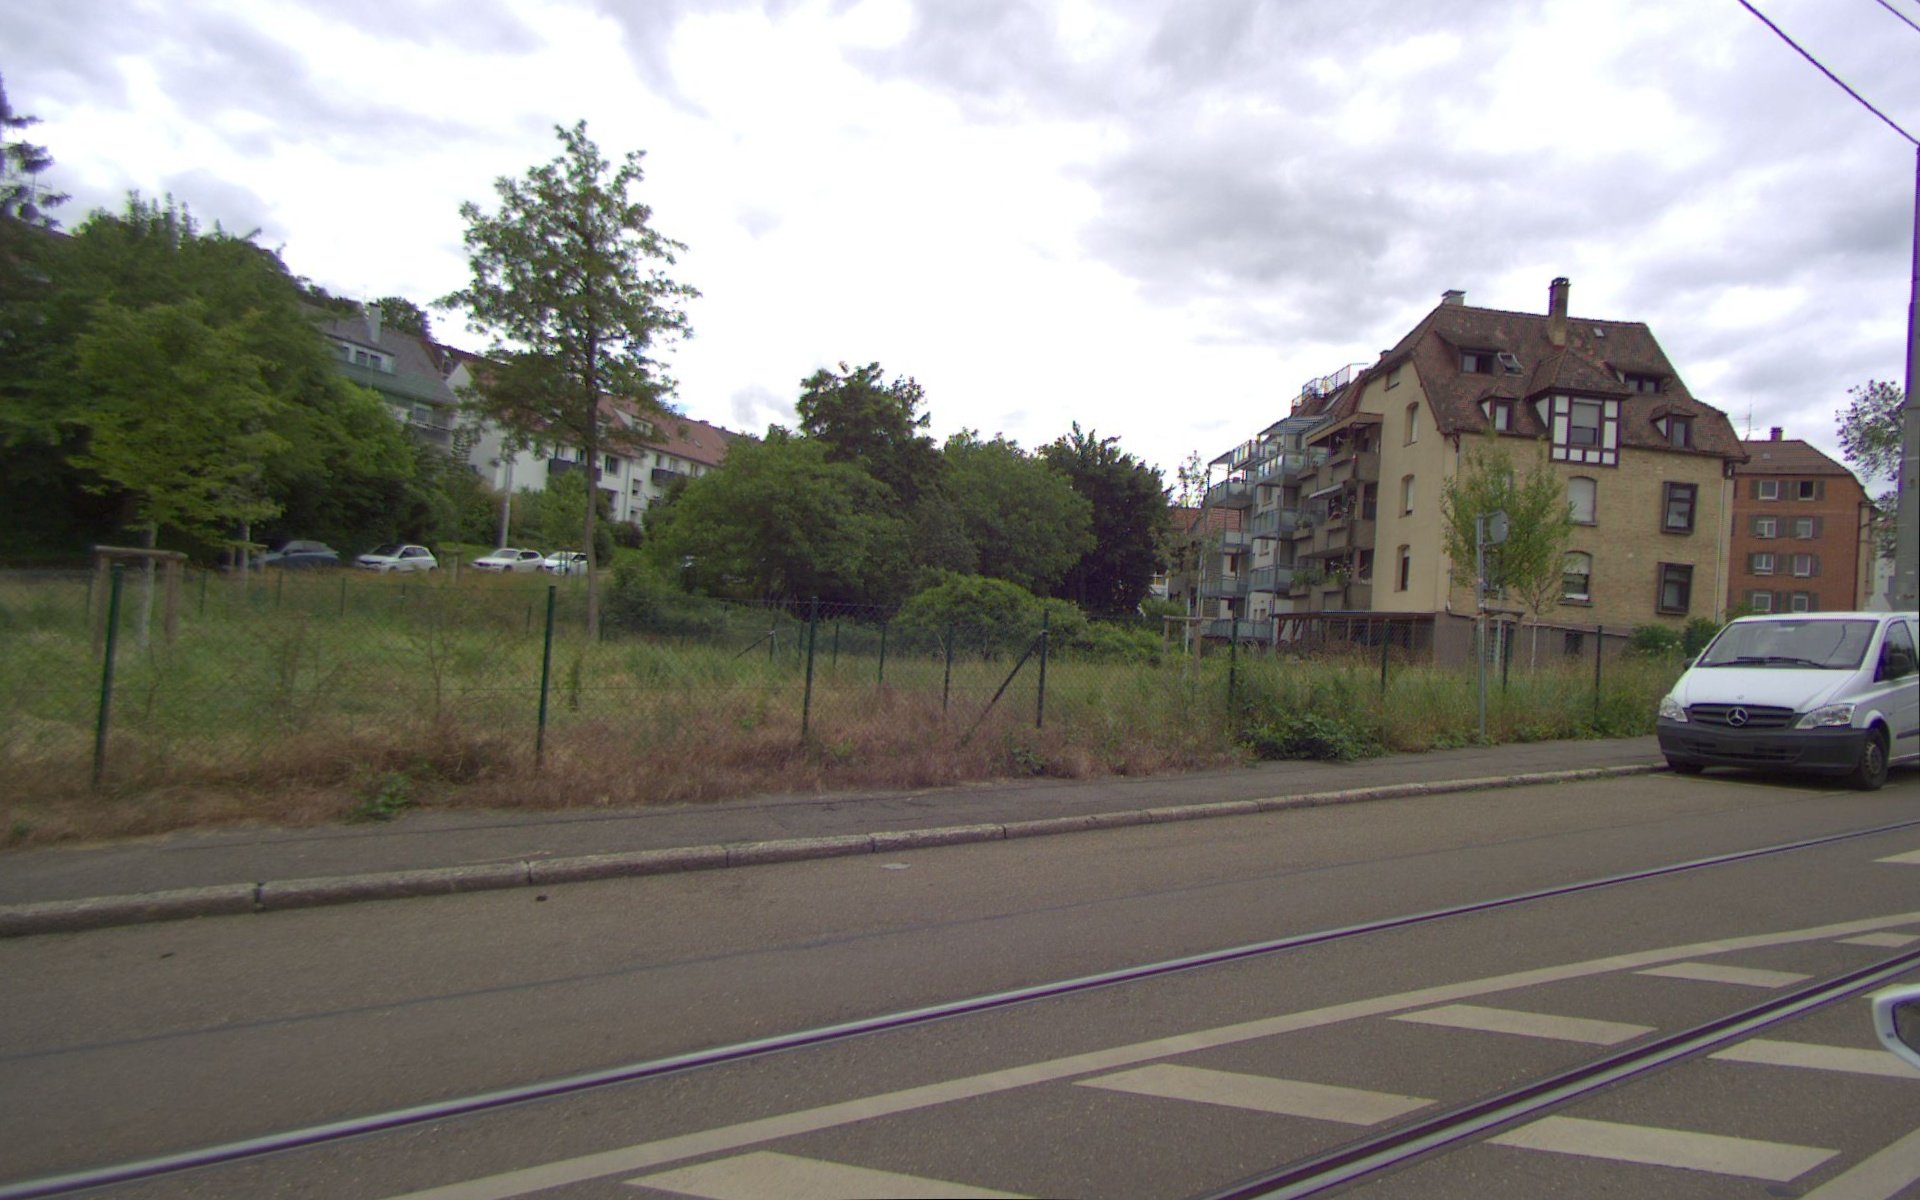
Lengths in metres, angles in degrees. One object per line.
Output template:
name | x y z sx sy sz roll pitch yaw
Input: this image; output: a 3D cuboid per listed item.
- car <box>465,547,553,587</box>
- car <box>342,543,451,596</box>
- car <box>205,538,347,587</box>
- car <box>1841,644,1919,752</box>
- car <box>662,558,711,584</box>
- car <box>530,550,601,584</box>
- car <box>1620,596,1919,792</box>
car | -23.295 -1.666 52.059 1.863 1.812 4.487 3 0 11
car | -24.634 -1.301 44.089 1.942 2.040 4.135 3 0 10
car | -25.372 -1.365 37.449 1.942 1.531 4.135 3 0 11
car | 15.050 1.406 14.710 4.457 1.451 1.888 2 -2 -30
car | -20.158 -2.135 74.233 1.800 1.680 4.135 3 0 11
car | -22.452 -1.851 57.294 1.800 1.680 4.135 3 0 11
car | 10.190 1.062 11.936 4.829 1.906 2.026 3 -3 -31
